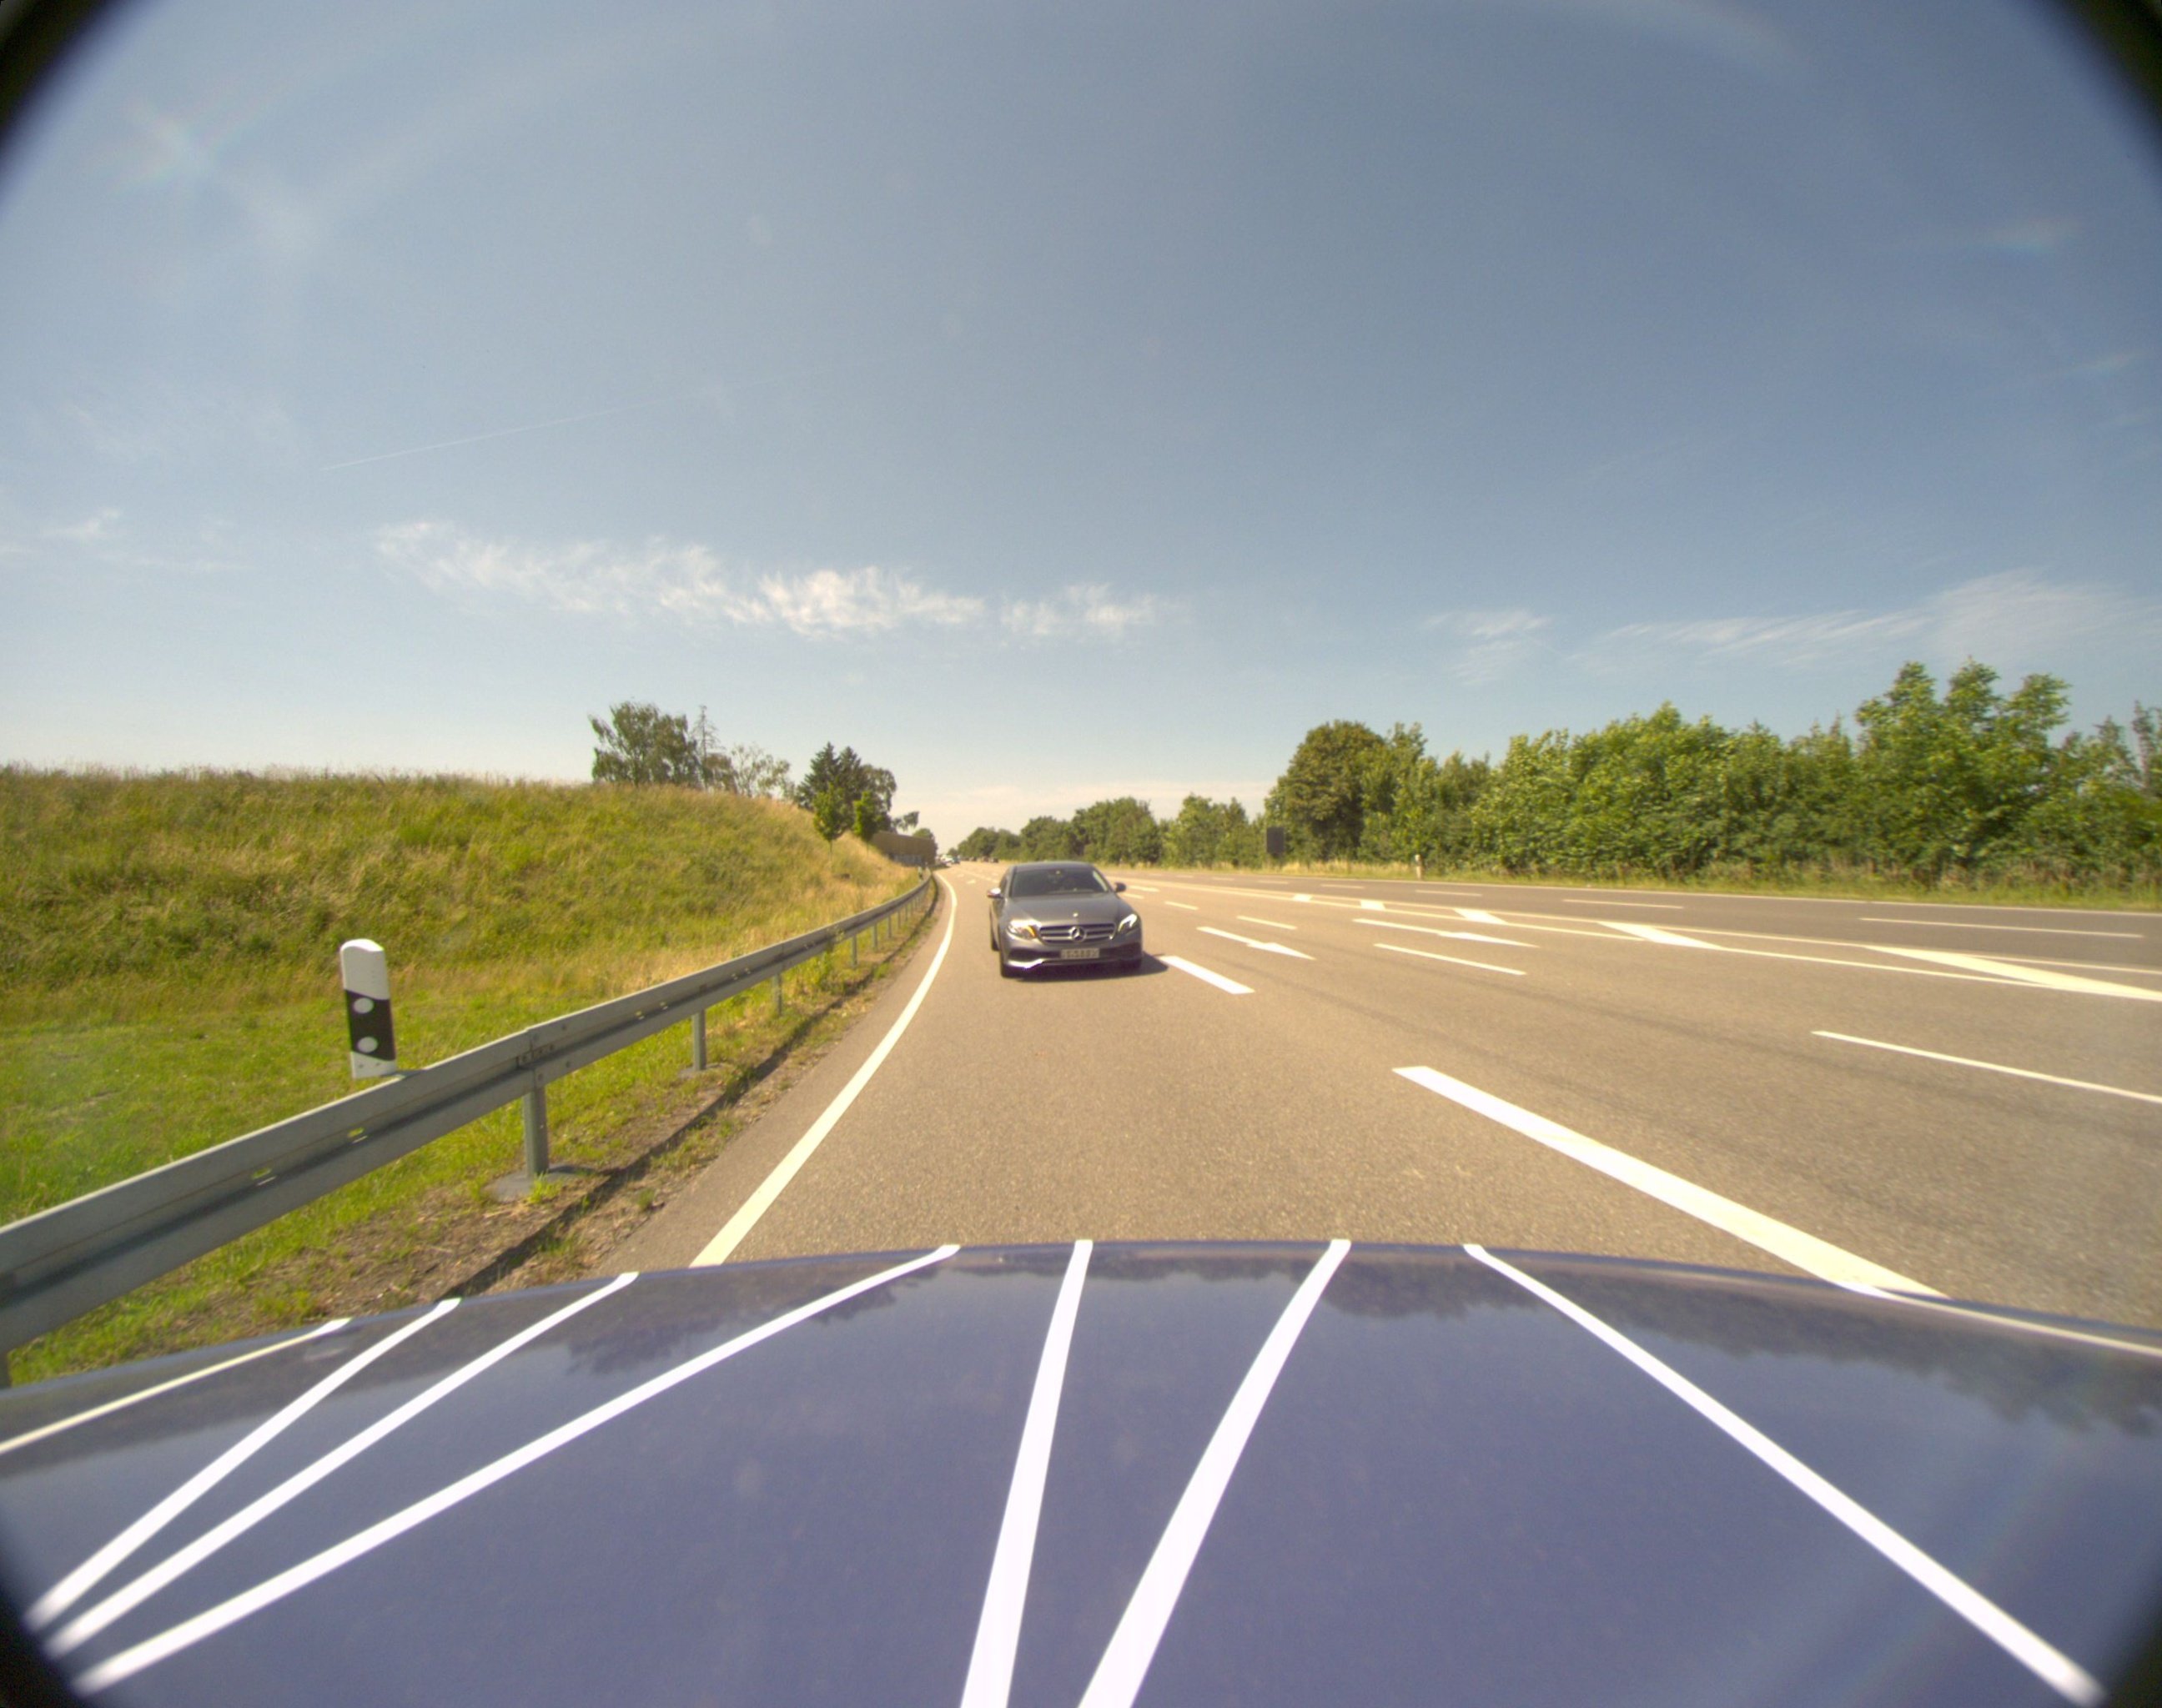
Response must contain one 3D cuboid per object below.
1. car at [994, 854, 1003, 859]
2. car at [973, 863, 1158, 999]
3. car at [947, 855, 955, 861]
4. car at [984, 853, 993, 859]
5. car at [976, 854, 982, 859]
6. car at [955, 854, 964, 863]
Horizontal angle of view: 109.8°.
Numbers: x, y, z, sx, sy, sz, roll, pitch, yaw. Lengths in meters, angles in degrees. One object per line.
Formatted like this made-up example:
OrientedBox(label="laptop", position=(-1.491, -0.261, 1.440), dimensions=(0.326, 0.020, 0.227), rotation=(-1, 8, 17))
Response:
OrientedBox(label="car", position=(-21.329, 0.629, 196.695), dimensions=(1.885, 1.390, 4.526), rotation=(-2, 1, -12))
OrientedBox(label="car", position=(-0.478, 0.934, 11.303), dimensions=(1.895, 1.439, 4.520), rotation=(-2, 1, -12))
OrientedBox(label="car", position=(-36.265, 1.112, 212.079), dimensions=(1.803, 1.674, 3.995), rotation=(-3, 2, -11))
OrientedBox(label="car", position=(-27.109, 0.621, 222.774), dimensions=(2.035, 1.630, 4.563), rotation=(-1, 1, -13))
OrientedBox(label="car", position=(-32.276, 0.852, 240.392), dimensions=(1.650, 1.479, 3.554), rotation=(-3, 1, -12))
OrientedBox(label="car", position=(-27.361, 0.976, 170.803), dimensions=(1.803, 1.674, 3.995), rotation=(-3, 2, -10))
